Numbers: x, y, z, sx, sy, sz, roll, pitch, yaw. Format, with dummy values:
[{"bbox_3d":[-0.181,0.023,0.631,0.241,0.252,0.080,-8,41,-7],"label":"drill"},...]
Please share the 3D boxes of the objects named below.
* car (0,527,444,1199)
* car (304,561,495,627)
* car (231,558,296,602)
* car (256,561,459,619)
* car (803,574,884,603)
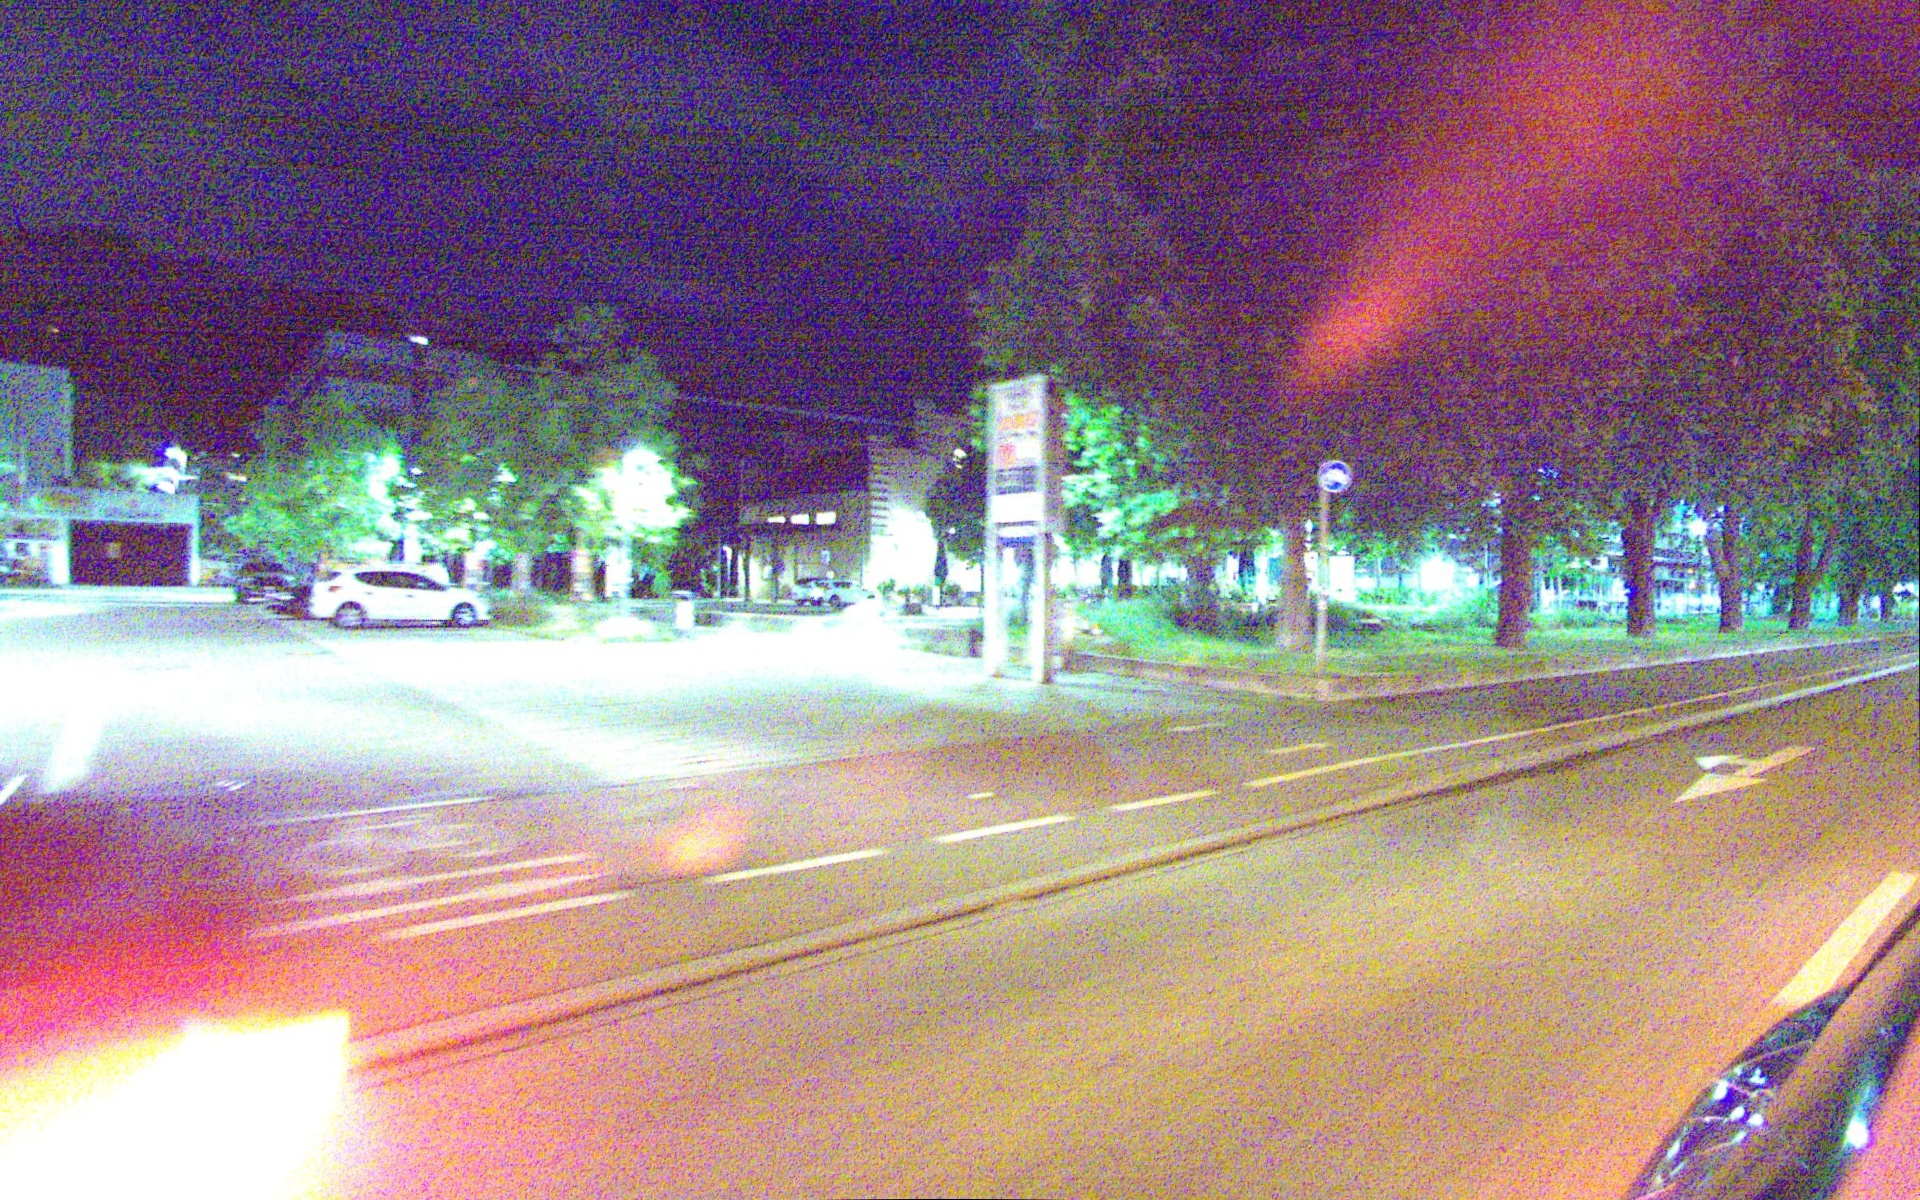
[{"bbox_3d":[-2.919,0.707,0.327,4.645,1.513,1.808,0,-1,-40],"label":"car"},{"bbox_3d":[-14.252,-0.172,25.836,4.026,1.552,1.772,0,1,-40],"label":"car"},{"bbox_3d":[-30.047,-0.860,43.600,2.041,1.787,4.549,0,1,-38],"label":"car"},{"bbox_3d":[-17.425,-0.292,29.429,4.807,1.531,1.892,0,1,-42],"label":"car"},{"bbox_3d":[-6.603,-0.644,57.618,4.225,1.527,1.998,0,1,-40],"label":"car"}]
